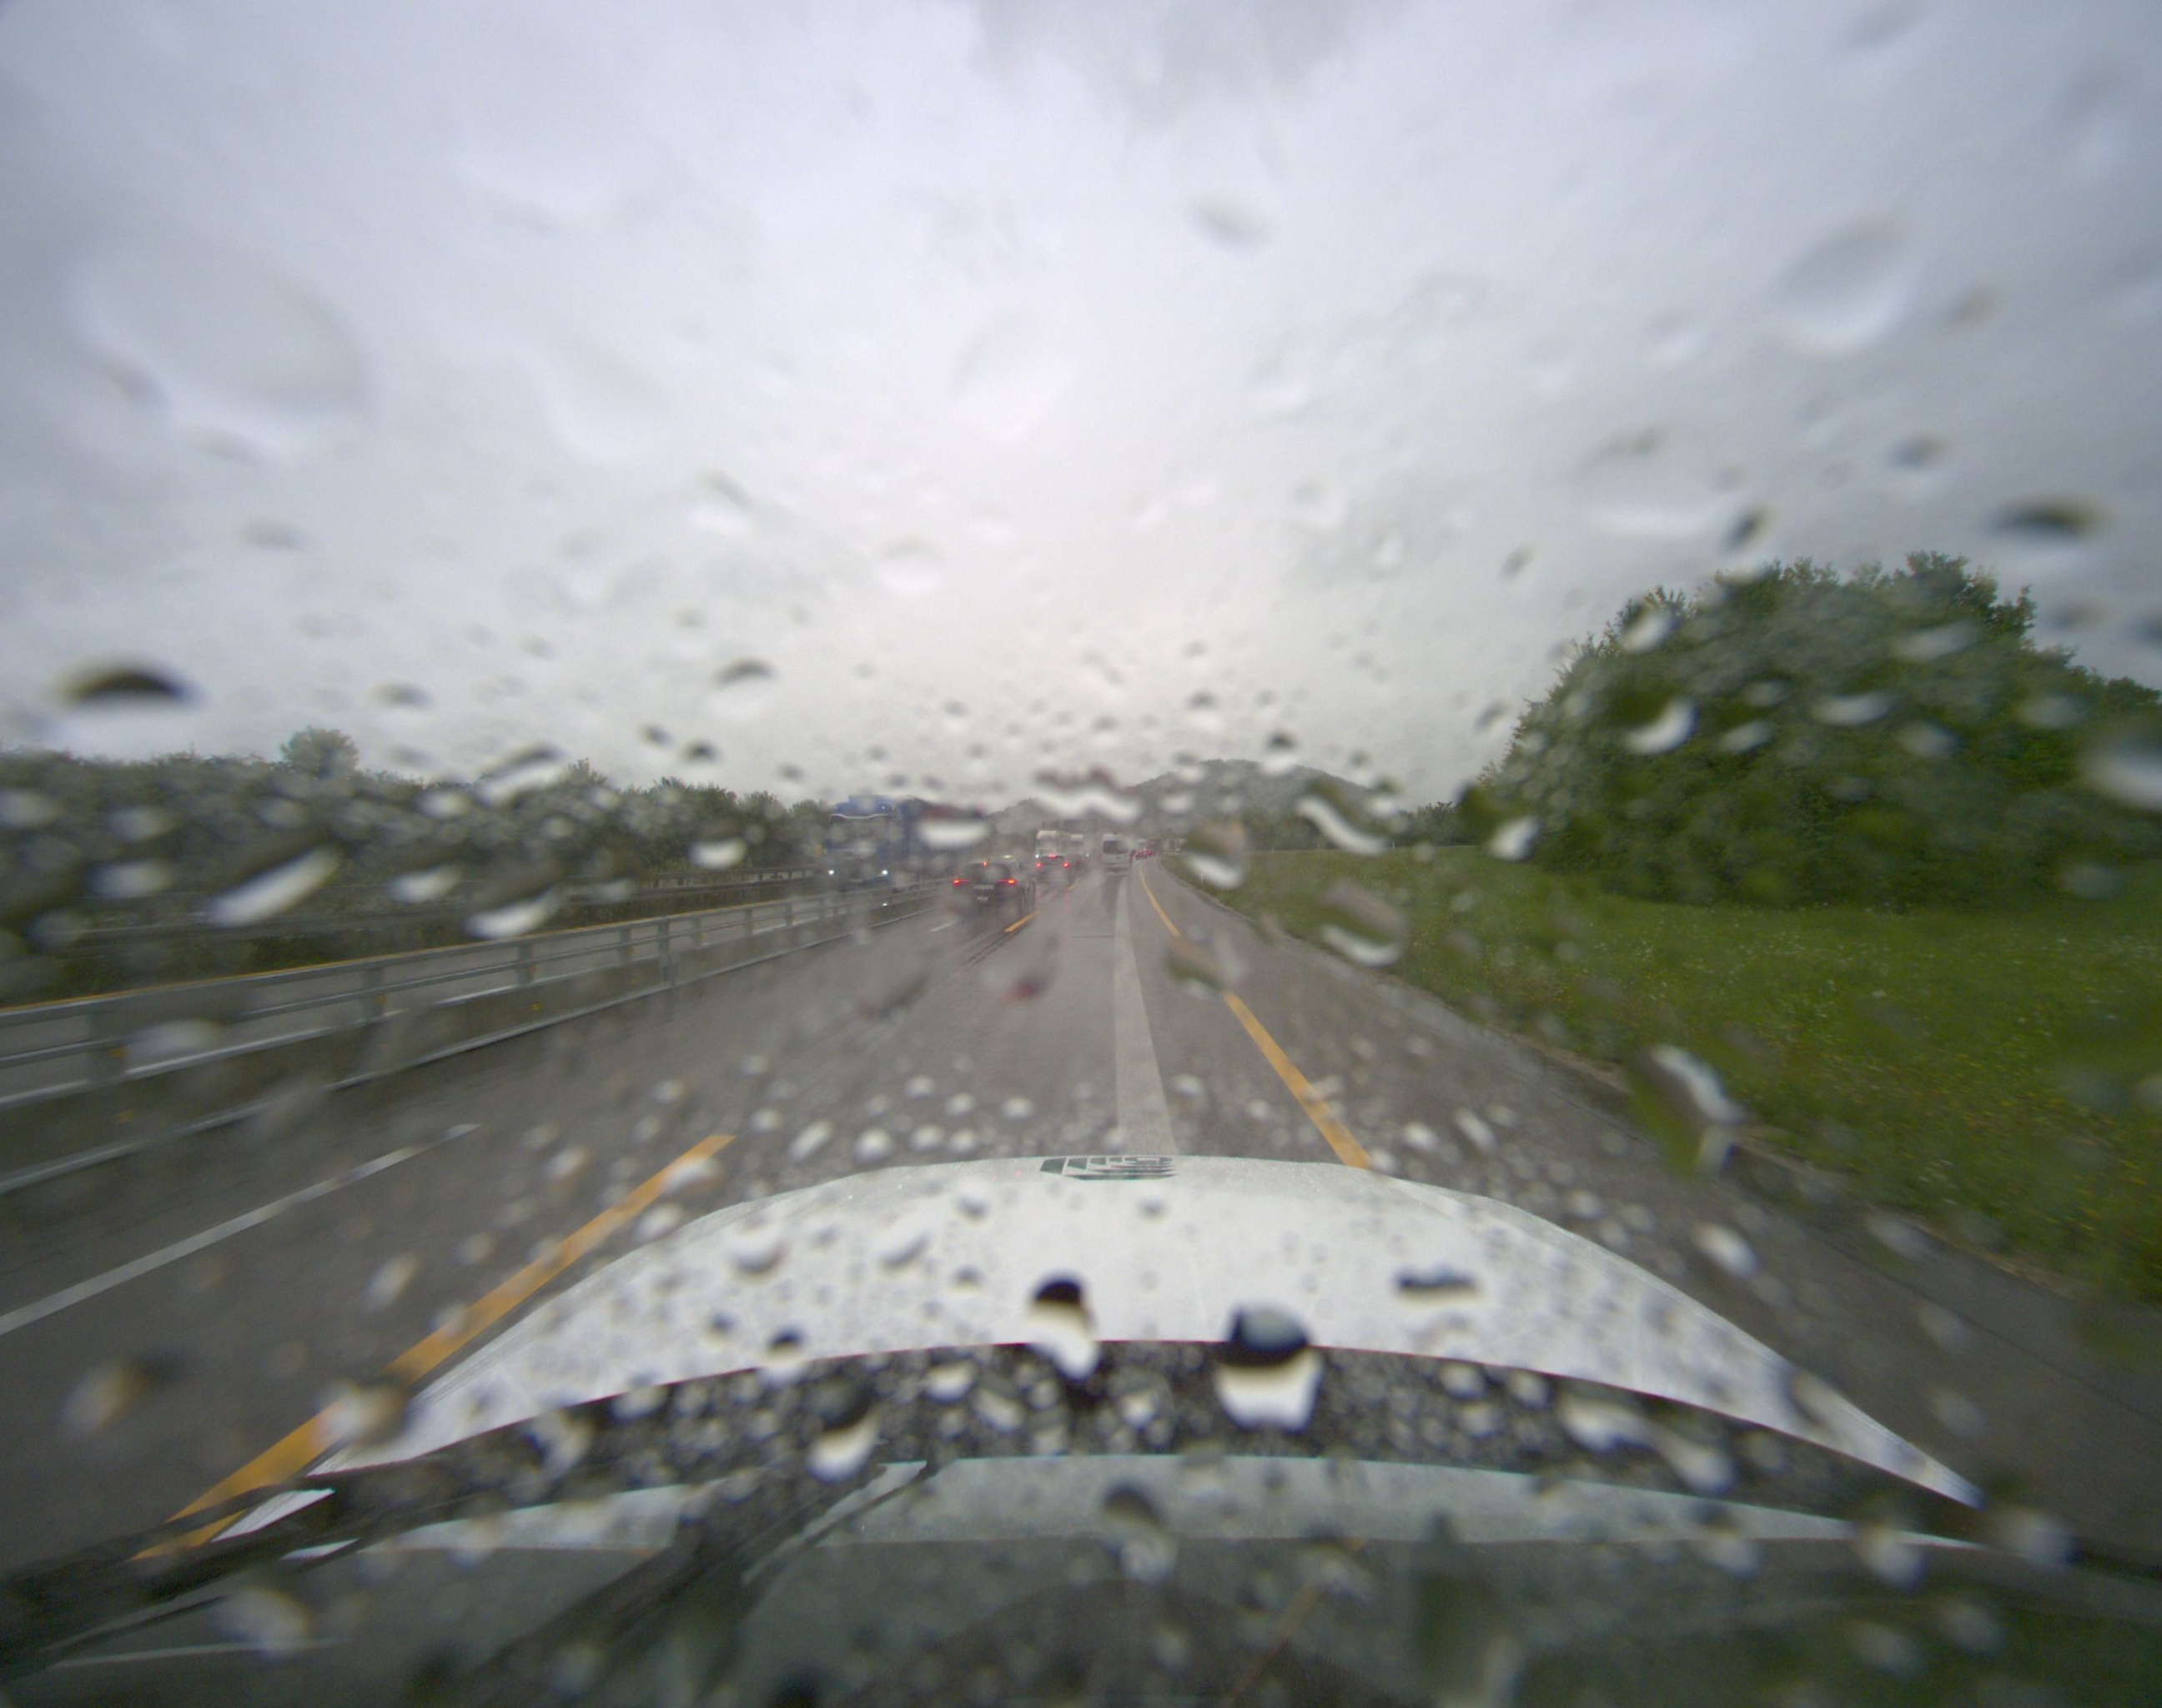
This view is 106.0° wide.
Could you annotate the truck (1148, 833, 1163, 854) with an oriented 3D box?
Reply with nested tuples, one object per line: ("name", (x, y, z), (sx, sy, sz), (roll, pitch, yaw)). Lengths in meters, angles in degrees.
("truck", (17.812, -2.453, 194.925), (3.303, 4.785, 9.926), (0, 0, 7))

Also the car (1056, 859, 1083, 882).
("car", (-0.784, 1.176, 59.166), (1.846, 1.500, 4.000), (-1, 0, 1))

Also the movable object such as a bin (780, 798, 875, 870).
("movable object such as a bin", (-22.473, -1.660, 73.180), (4.151, 5.915, 11.061), (0, 0, 5))

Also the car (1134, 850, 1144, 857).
("car", (9.350, -0.018, 131.450), (1.380, 1.078, 3.123), (-1, 0, 1))

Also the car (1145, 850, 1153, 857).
("car", (12.990, -0.151, 155.042), (1.378, 1.256, 3.125), (-1, 0, 3))

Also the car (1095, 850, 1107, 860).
("car", (2.245, 0.089, 89.828), (1.257, 1.078, 3.257), (-1, 0, 3))

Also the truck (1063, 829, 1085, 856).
("truck", (-1.094, -1.822, 129.549), (2.871, 4.101, 6.934), (-1, 1, 4))

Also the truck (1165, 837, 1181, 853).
("truck", (28.753, -2.853, 254.188), (3.903, 4.785, 9.938), (0, 0, 11))

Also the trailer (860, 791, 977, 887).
("trailer", (-7.798, -0.639, 41.346), (2.588, 4.077, 12.445), (-1, 0, 4))

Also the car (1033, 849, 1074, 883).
("car", (-1.378, 0.601, 42.362), (1.860, 1.659, 3.989), (-1, 0, 1))

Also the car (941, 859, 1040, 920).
("car", (-2.325, 0.881, 22.156), (1.931, 1.427, 4.763), (0, 0, 3))

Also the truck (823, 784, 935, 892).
("truck", (-8.277, -0.629, 34.262), (2.612, 4.081, 6.676), (0, 0, 3))

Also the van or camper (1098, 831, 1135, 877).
("van or camper", (2.169, 0.016, 51.221), (2.132, 2.721, 4.648), (-1, 0, 1))

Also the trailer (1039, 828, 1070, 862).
("trailer", (-3.302, -1.218, 104.605), (2.482, 4.049, 12.605), (-2, 1, 5))

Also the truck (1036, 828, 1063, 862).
("truck", (-3.752, -1.128, 98.980), (2.472, 4.030, 6.456), (0, 1, 4))
